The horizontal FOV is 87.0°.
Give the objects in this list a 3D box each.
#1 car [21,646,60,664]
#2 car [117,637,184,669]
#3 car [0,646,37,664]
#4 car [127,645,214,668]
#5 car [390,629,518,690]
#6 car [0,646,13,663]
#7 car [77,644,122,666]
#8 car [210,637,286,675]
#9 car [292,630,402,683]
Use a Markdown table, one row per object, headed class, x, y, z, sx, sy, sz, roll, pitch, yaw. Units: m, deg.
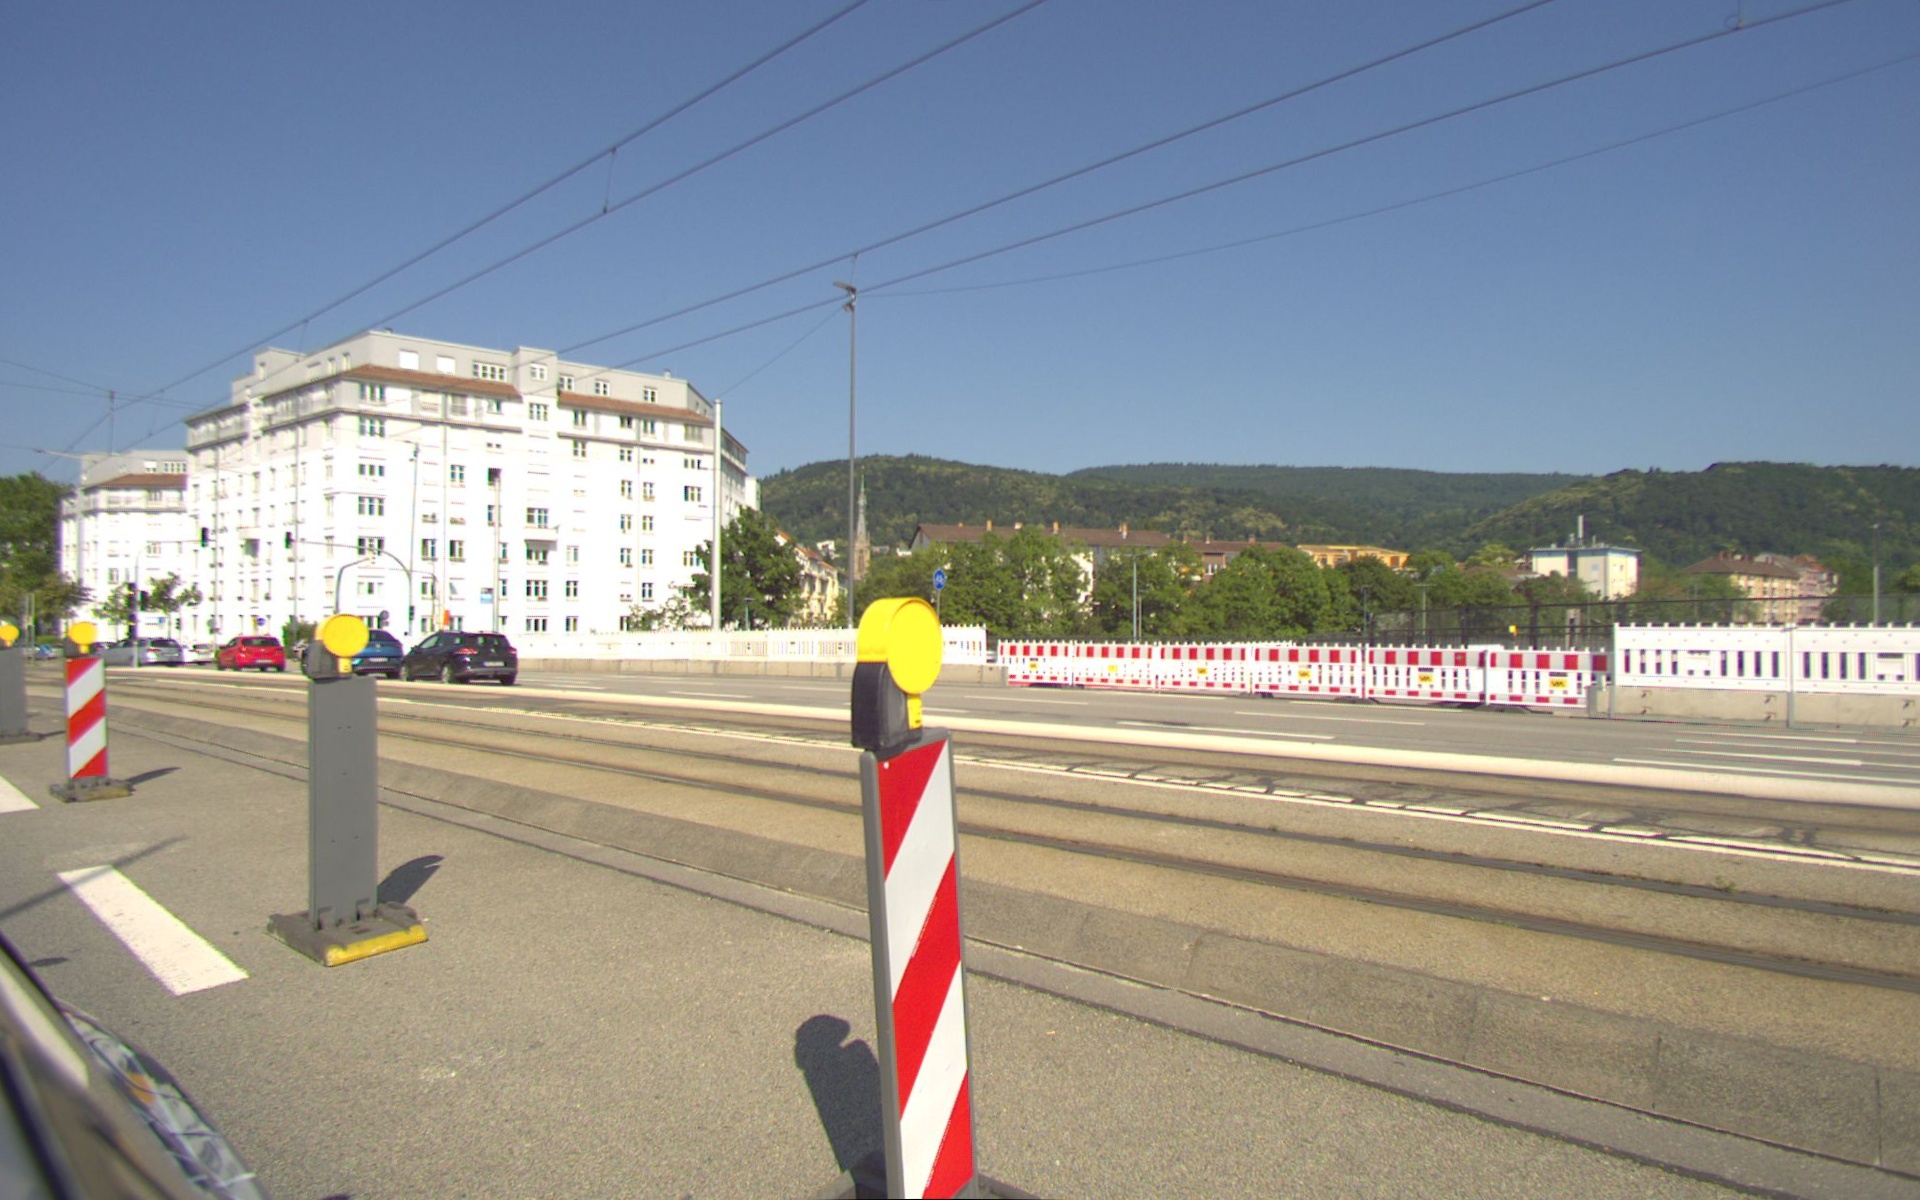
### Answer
| class | x | y | z | sx | sy | sz | roll | pitch | yaw |
| --- | --- | --- | --- | --- | --- | --- | --- | --- | --- |
| car | -77.678 | 4.626 | 85.509 | 3.732 | 1.496 | 1.719 | -2 | -2 | 36 |
| car | -38.338 | 2.522 | 47.906 | 4.640 | 1.448 | 1.620 | -2 | -4 | 41 |
| car | -84.246 | 4.899 | 90.559 | 3.732 | 1.496 | 1.719 | -2 | -2 | 36 |
| car | -48.953 | 3.498 | 62.804 | 4.435 | 1.423 | 1.697 | 0 | -2 | 9 |
| car | -13.417 | 1.554 | 26.751 | 4.174 | 1.512 | 1.490 | -2 | -4 | 40 |
| car | -90.100 | 5.084 | 94.522 | 3.732 | 1.496 | 1.719 | -2 | -2 | 36 |
| car | -66.932 | 4.263 | 78.681 | 3.730 | 1.650 | 1.720 | -2 | -2 | 34 |
| car | -28.903 | 2.264 | 41.032 | 3.977 | 1.448 | 1.518 | -2 | -6 | 41 |
| car | -19.465 | 1.781 | 32.064 | 4.553 | 1.562 | 1.652 | -2 | -3 | 41 |
